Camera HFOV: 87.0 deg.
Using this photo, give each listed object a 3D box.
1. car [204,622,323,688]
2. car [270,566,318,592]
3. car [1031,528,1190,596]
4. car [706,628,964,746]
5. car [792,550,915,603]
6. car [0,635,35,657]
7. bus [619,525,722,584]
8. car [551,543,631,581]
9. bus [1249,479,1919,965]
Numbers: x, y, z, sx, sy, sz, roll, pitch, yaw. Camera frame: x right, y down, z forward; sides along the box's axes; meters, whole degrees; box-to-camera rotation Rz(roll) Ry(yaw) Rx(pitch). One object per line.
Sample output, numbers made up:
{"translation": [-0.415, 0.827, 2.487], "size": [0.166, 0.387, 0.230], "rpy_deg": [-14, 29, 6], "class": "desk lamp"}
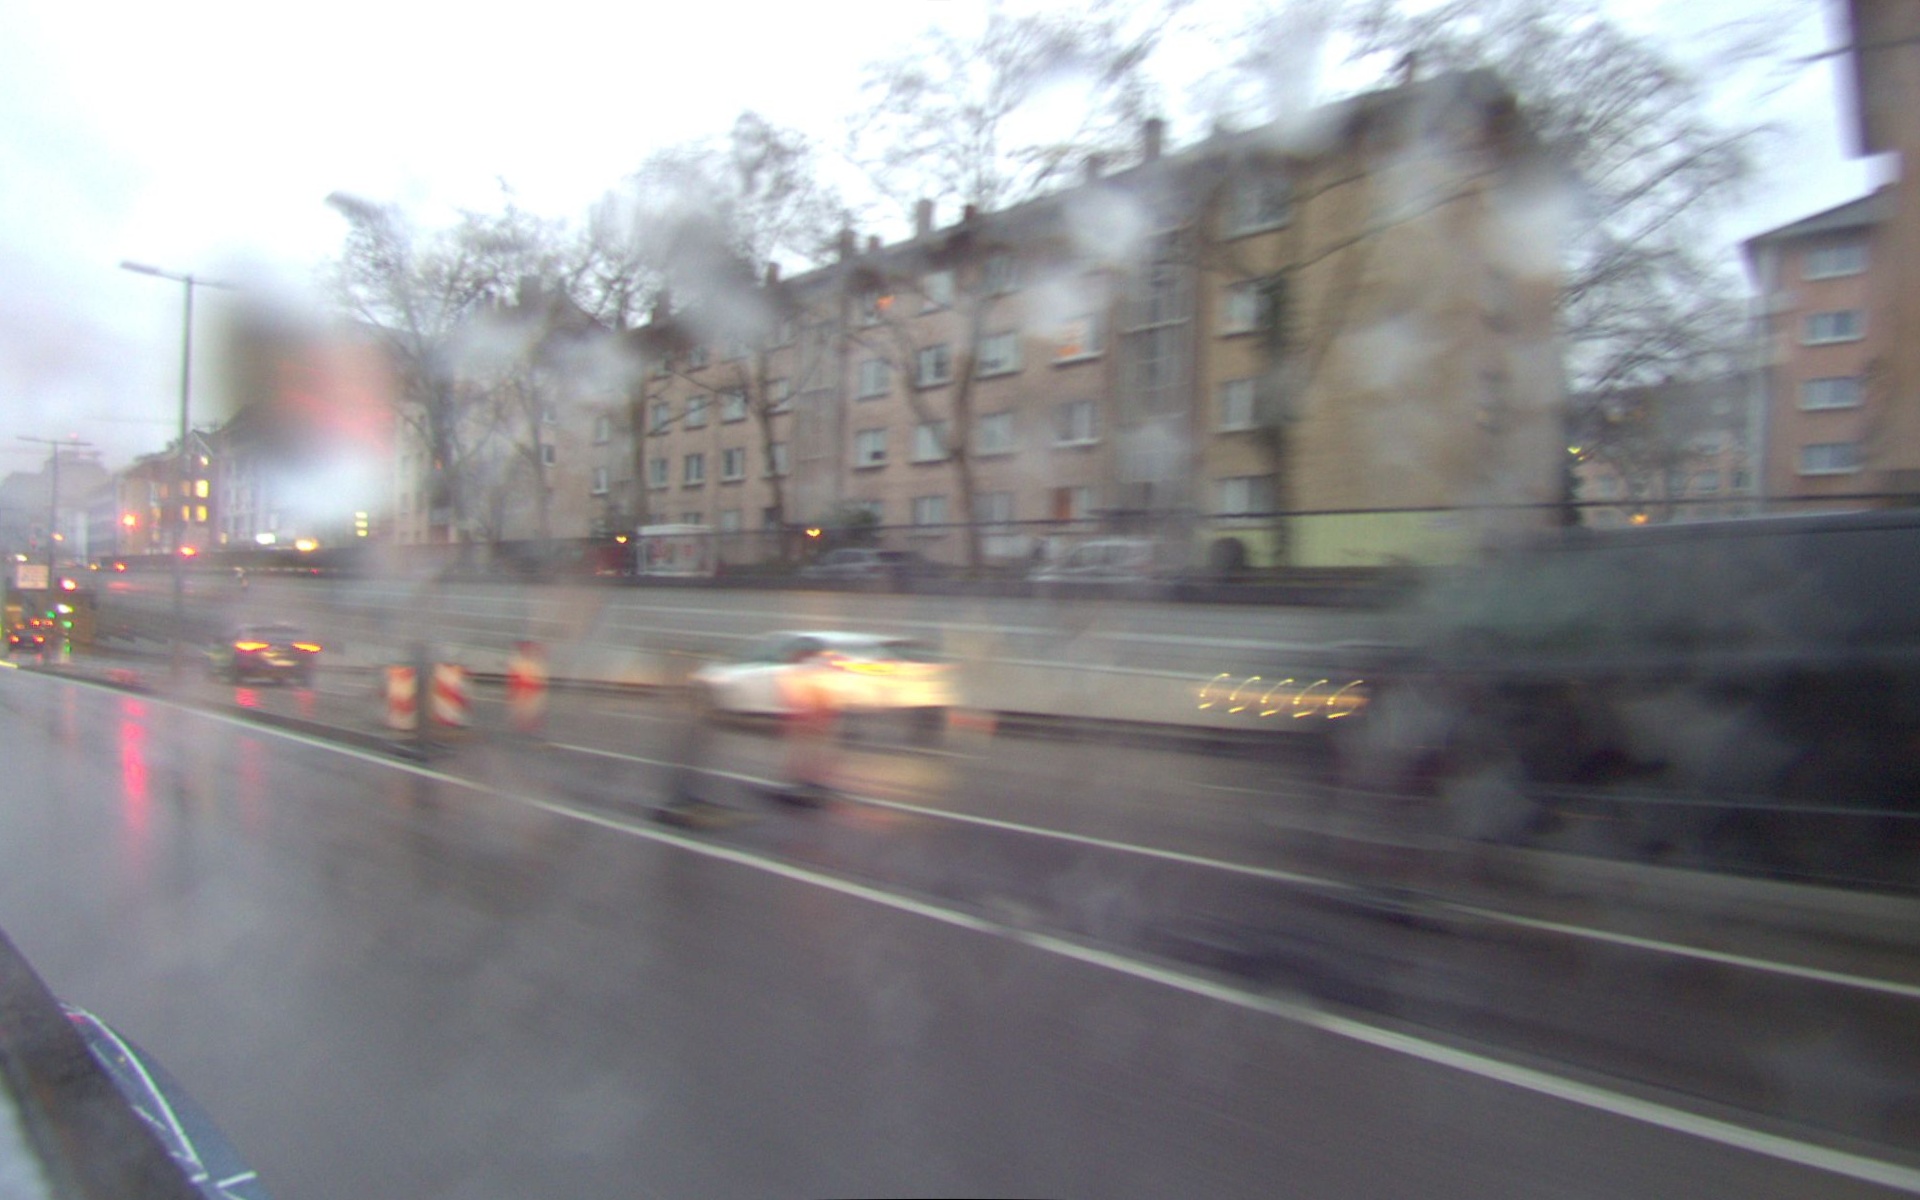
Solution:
{"translation": [-18.346, 1.438, 26.595], "size": [3.842, 1.604, 1.765], "rpy_deg": [-2, -4, 43], "class": "car"}
{"translation": [-38.635, -1.210, 58.683], "size": [3.406, 1.408, 1.548], "rpy_deg": [1, -2, 43], "class": "car"}
{"translation": [3.689, -0.898, 25.121], "size": [3.625, 1.484, 1.548], "rpy_deg": [1, -2, 42], "class": "car"}
{"translation": [-1.928, 1.196, 14.875], "size": [3.873, 1.502, 1.656], "rpy_deg": [-2, -4, 43], "class": "car"}
{"translation": [-3.348, -0.718, 31.374], "size": [3.877, 1.484, 1.548], "rpy_deg": [1, -2, 42], "class": "car"}
{"translation": [-66.053, 3.230, 70.878], "size": [3.686, 1.482, 1.555], "rpy_deg": [-2, -2, 42], "class": "car"}
{"translation": [-10.301, -1.559, 35.845], "size": [4.066, 1.884, 1.676], "rpy_deg": [1, -2, 45], "class": "bus"}
{"translation": [-15.700, -1.579, 42.984], "size": [3.878, 1.484, 1.548], "rpy_deg": [1, -2, 43], "class": "car"}
{"translation": [4.218, 0.545, 5.007], "size": [5.174, 1.981, 1.656], "rpy_deg": [-1, -4, 43], "class": "bus"}
